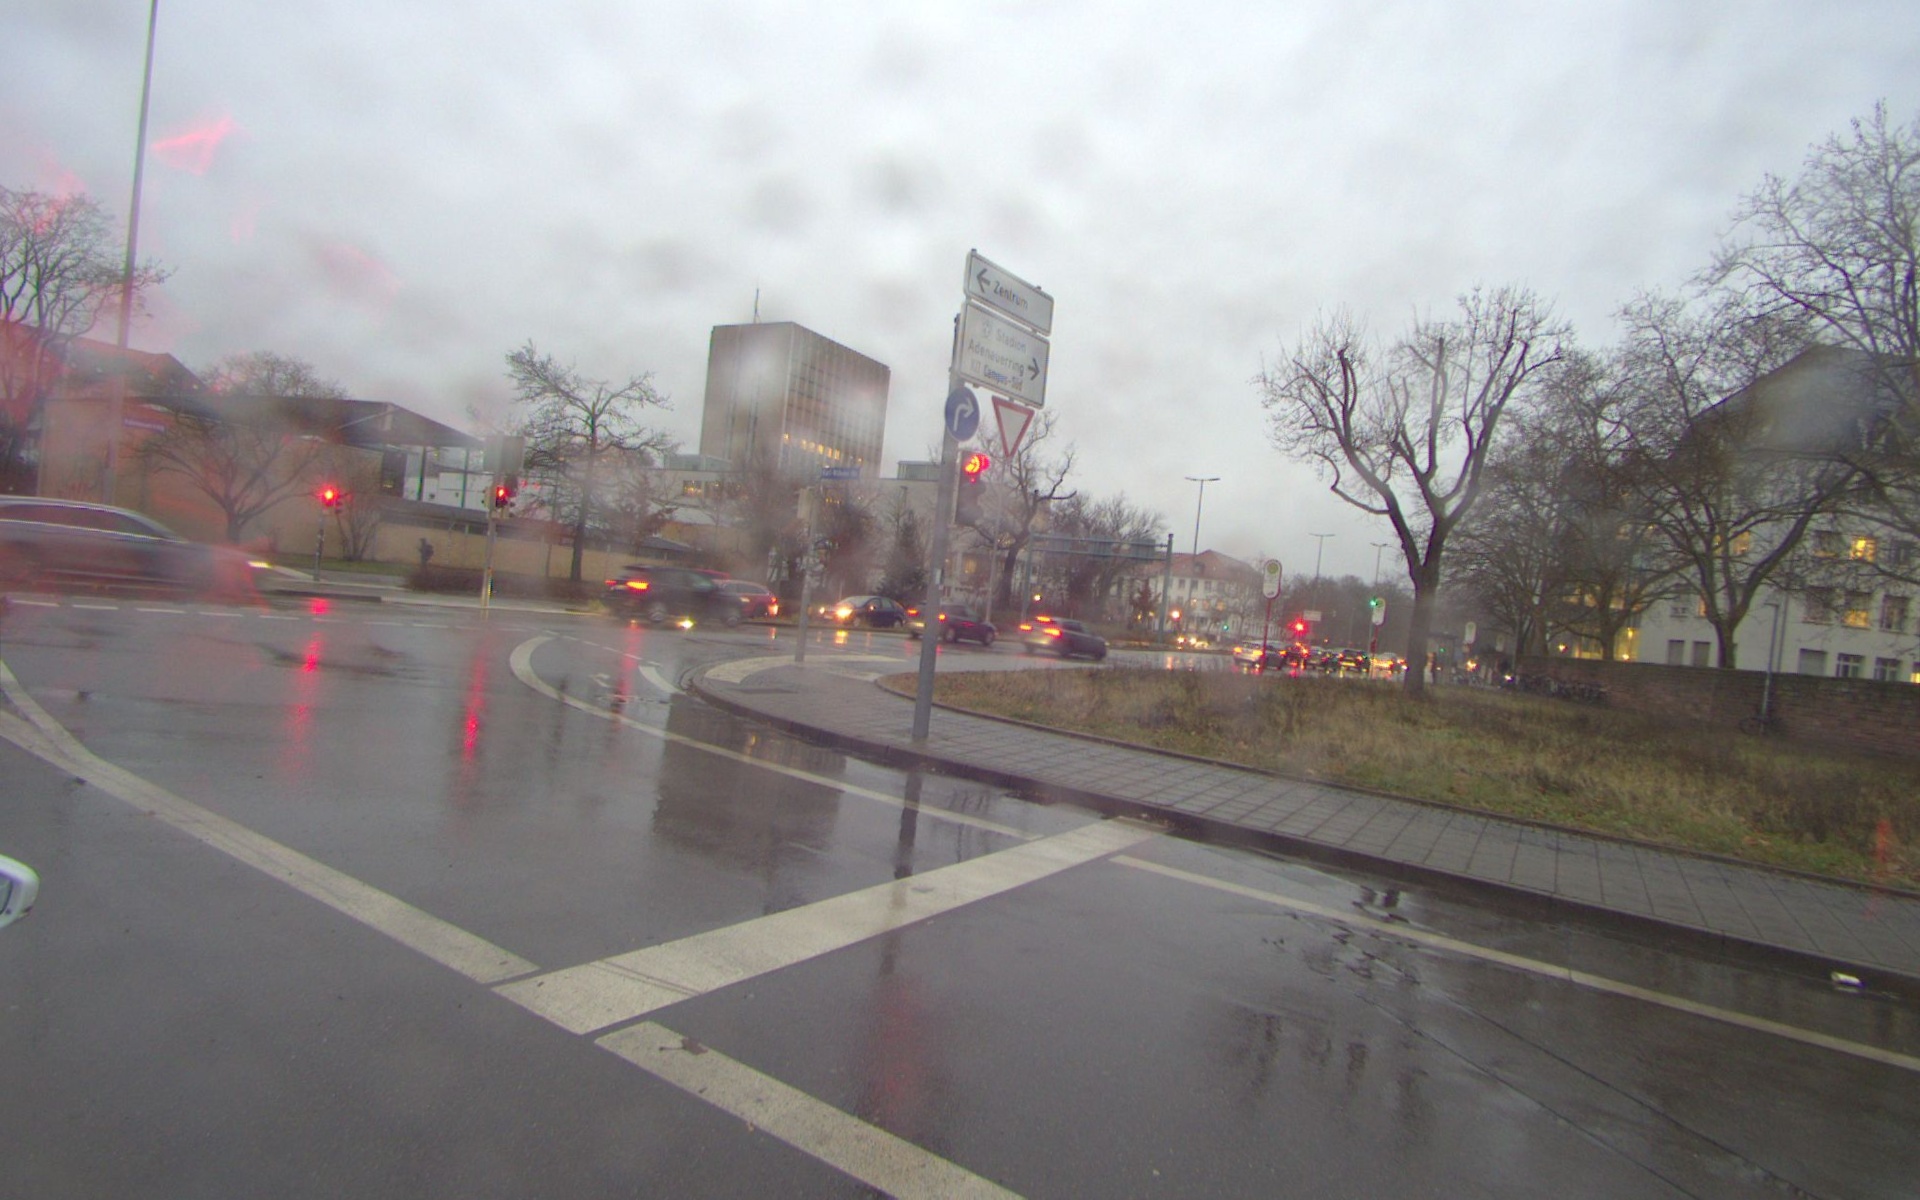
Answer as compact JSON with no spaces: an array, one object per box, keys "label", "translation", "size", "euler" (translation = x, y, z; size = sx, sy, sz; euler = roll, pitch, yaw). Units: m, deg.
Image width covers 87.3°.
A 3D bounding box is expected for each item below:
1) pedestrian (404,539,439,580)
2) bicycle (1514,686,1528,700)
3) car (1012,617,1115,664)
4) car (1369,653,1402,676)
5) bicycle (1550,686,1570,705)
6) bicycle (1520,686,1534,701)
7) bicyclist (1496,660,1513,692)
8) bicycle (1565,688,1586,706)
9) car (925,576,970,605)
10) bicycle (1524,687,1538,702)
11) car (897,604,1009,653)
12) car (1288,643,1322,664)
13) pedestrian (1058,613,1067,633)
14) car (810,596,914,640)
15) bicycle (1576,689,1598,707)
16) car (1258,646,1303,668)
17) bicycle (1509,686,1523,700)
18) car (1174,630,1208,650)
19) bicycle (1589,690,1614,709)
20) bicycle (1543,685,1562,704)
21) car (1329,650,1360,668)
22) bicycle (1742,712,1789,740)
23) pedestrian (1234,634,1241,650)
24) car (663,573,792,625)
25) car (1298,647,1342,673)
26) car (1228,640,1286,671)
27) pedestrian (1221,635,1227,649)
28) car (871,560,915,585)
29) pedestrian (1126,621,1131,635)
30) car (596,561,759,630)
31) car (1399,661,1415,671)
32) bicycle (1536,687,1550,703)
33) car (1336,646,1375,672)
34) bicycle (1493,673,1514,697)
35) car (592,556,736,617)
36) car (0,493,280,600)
[{"label":"pedestrian","translation":[-22.787,-1.718,42.602],"size":[0.783,1.624,0.960],"euler":[8,2,39]},{"label":"bicycle","translation":[33.827,5.614,60.666],"size":[0.387,0.795,1.532],"euler":[7,-2,20]},{"label":"car","translation":[4.115,1.602,39.325],"size":[1.784,1.496,4.575],"euler":[6,0,37]},{"label":"car","translation":[37.465,5.670,88.512],"size":[1.811,1.710,4.311],"euler":[6,0,32]},{"label":"bicycle","translation":[31.355,4.980,52.558],"size":[0.387,0.868,1.532],"euler":[7,-2,15]},{"label":"bicycle","translation":[33.321,5.487,59.147],"size":[0.387,0.795,1.532],"euler":[7,-2,20]},{"label":"bicyclist","translation":[30.078,4.192,55.562],"size":[0.599,1.660,0.453],"euler":[7,-1,19]},{"label":"bicycle","translation":[31.037,4.876,50.746],"size":[0.343,0.848,1.493],"euler":[7,-2,13]},{"label":"car","translation":[-1.239,-0.981,103.230],"size":[2.014,2.452,5.326],"euler":[6,0,30]},{"label":"bicycle","translation":[32.839,5.404,57.868],"size":[0.387,0.795,1.532],"euler":[7,-2,19]},{"label":"car","translation":[-0.186,1.124,38.107],"size":[1.783,1.496,4.576],"euler":[6,0,36]},{"label":"car","translation":[30.493,4.745,88.832],"size":[1.811,1.602,4.127],"euler":[6,0,31]},{"label":"pedestrian","translation":[9.040,2.058,88.820],"size":[0.411,1.725,0.430],"euler":[8,3,44]},{"label":"car","translation":[-4.054,0.796,42.438],"size":[1.784,1.496,4.411],"euler":[6,0,37]},{"label":"bicycle","translation":[30.547,4.769,49.002],"size":[0.387,0.795,1.533],"euler":[7,-2,14]},{"label":"car","translation":[23.585,4.216,73.910],"size":[1.908,1.318,4.685],"euler":[6,0,34]},{"label":"bicycle","translation":[34.347,5.742,62.154],"size":[0.387,0.795,1.532],"euler":[7,-2,20]},{"label":"car","translation":[21.755,3.818,94.618],"size":[1.811,1.602,4.127],"euler":[6,0,31]},{"label":"bicycle","translation":[30.274,4.673,47.478],"size":[0.352,0.795,1.415],"euler":[7,-2,8]},{"label":"bicycle","translation":[31.840,5.075,54.089],"size":[0.387,0.927,1.532],"euler":[7,-2,15]},{"label":"car","translation":[33.910,5.230,88.697],"size":[1.674,1.318,3.756],"euler":[6,0,33]},{"label":"bicycle","translation":[28.202,4.400,35.227],"size":[0.387,0.834,1.386],"euler":[7,-2,-4]},{"label":"pedestrian","translation":[35.228,5.347,127.696],"size":[0.567,2.040,0.592],"euler":[8,3,37]},{"label":"car","translation":[-8.392,-0.006,36.646],"size":[1.784,1.496,4.411],"euler":[6,0,37]},{"label":"car","translation":[26.036,4.349,72.662],"size":[1.812,1.602,4.124],"euler":[6,0,35]},{"label":"car","translation":[17.498,3.299,59.177],"size":[1.907,1.571,4.686],"euler":[6,0,33]},{"label":"pedestrian","translation":[32.963,5.250,125.670],"size":[0.404,1.713,0.561],"euler":[7,2,28]},{"label":"car","translation":[-7.060,-2.914,106.537],"size":[2.014,2.102,4.892],"euler":[6,0,30]},{"label":"pedestrian","translation":[16.486,2.752,98.312],"size":[0.258,1.364,0.289],"euler":[8,2,31]},{"label":"car","translation":[-7.759,-0.100,27.867],"size":[1.786,1.496,3.949],"euler":[6,0,40]},{"label":"car","translation":[66.422,9.771,149.370],"size":[1.620,1.346,3.671],"euler":[7,1,31]},{"label":"bicycle","translation":[32.411,5.290,55.955],"size":[0.387,0.795,1.607],"euler":[7,-2,22]},{"label":"car","translation":[31.485,4.716,80.047],"size":[1.812,1.710,4.311],"euler":[6,-1,34]},{"label":"bicycle","translation":[30.010,4.693,55.548],"size":[0.599,1.181,1.682],"euler":[7,-2,19]},{"label":"car","translation":[-11.708,-0.480,40.173],"size":[2.016,1.903,5.320],"euler":[6,0,35]},{"label":"car","translation":[-15.490,-0.967,18.443],"size":[1.786,1.496,4.648],"euler":[6,0,41]}]
